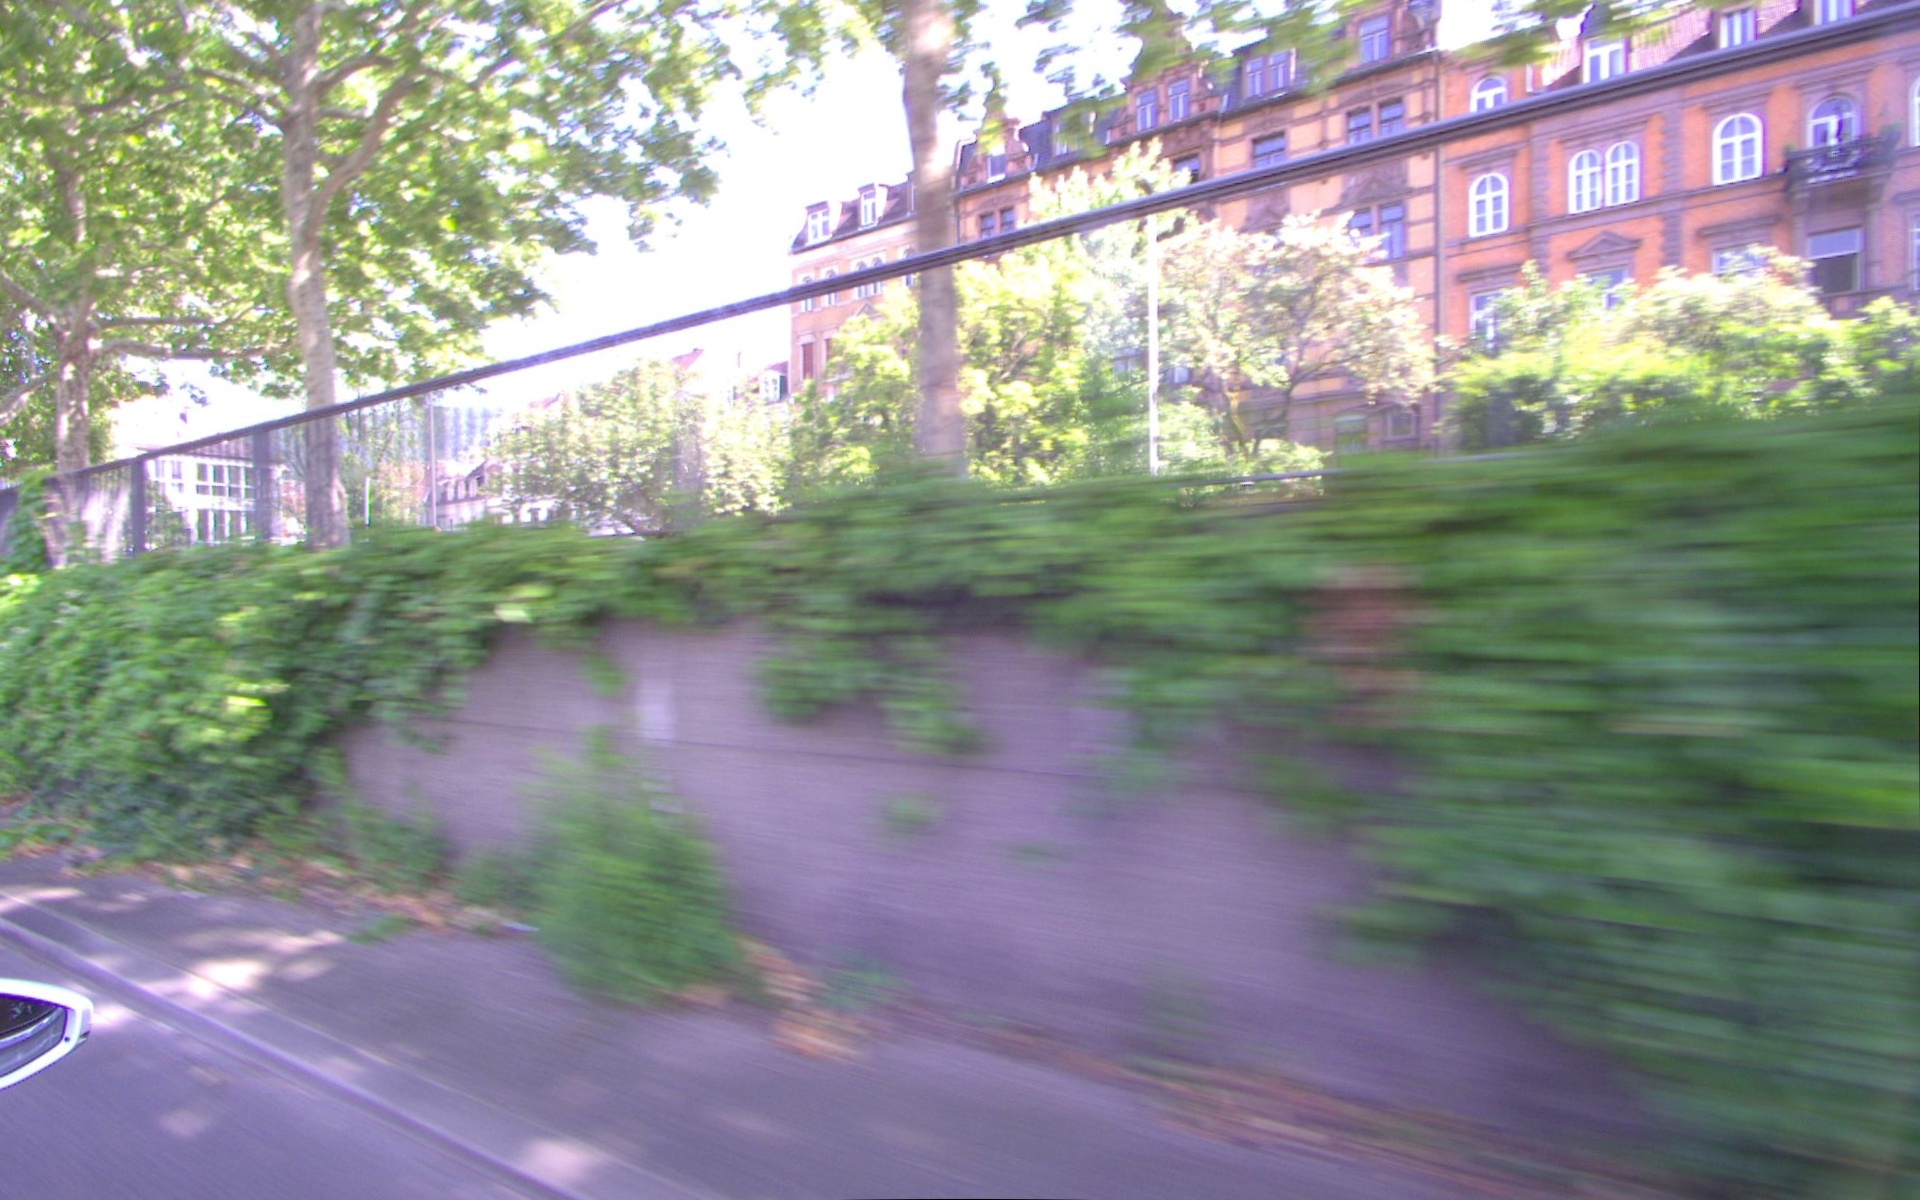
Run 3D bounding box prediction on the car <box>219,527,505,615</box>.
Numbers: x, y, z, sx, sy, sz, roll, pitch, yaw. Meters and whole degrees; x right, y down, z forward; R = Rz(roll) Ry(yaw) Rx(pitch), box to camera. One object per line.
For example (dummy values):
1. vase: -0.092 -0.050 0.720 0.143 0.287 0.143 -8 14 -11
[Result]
1. car: -9.591 -0.473 16.385 1.647 1.252 3.724 -1 2 24
